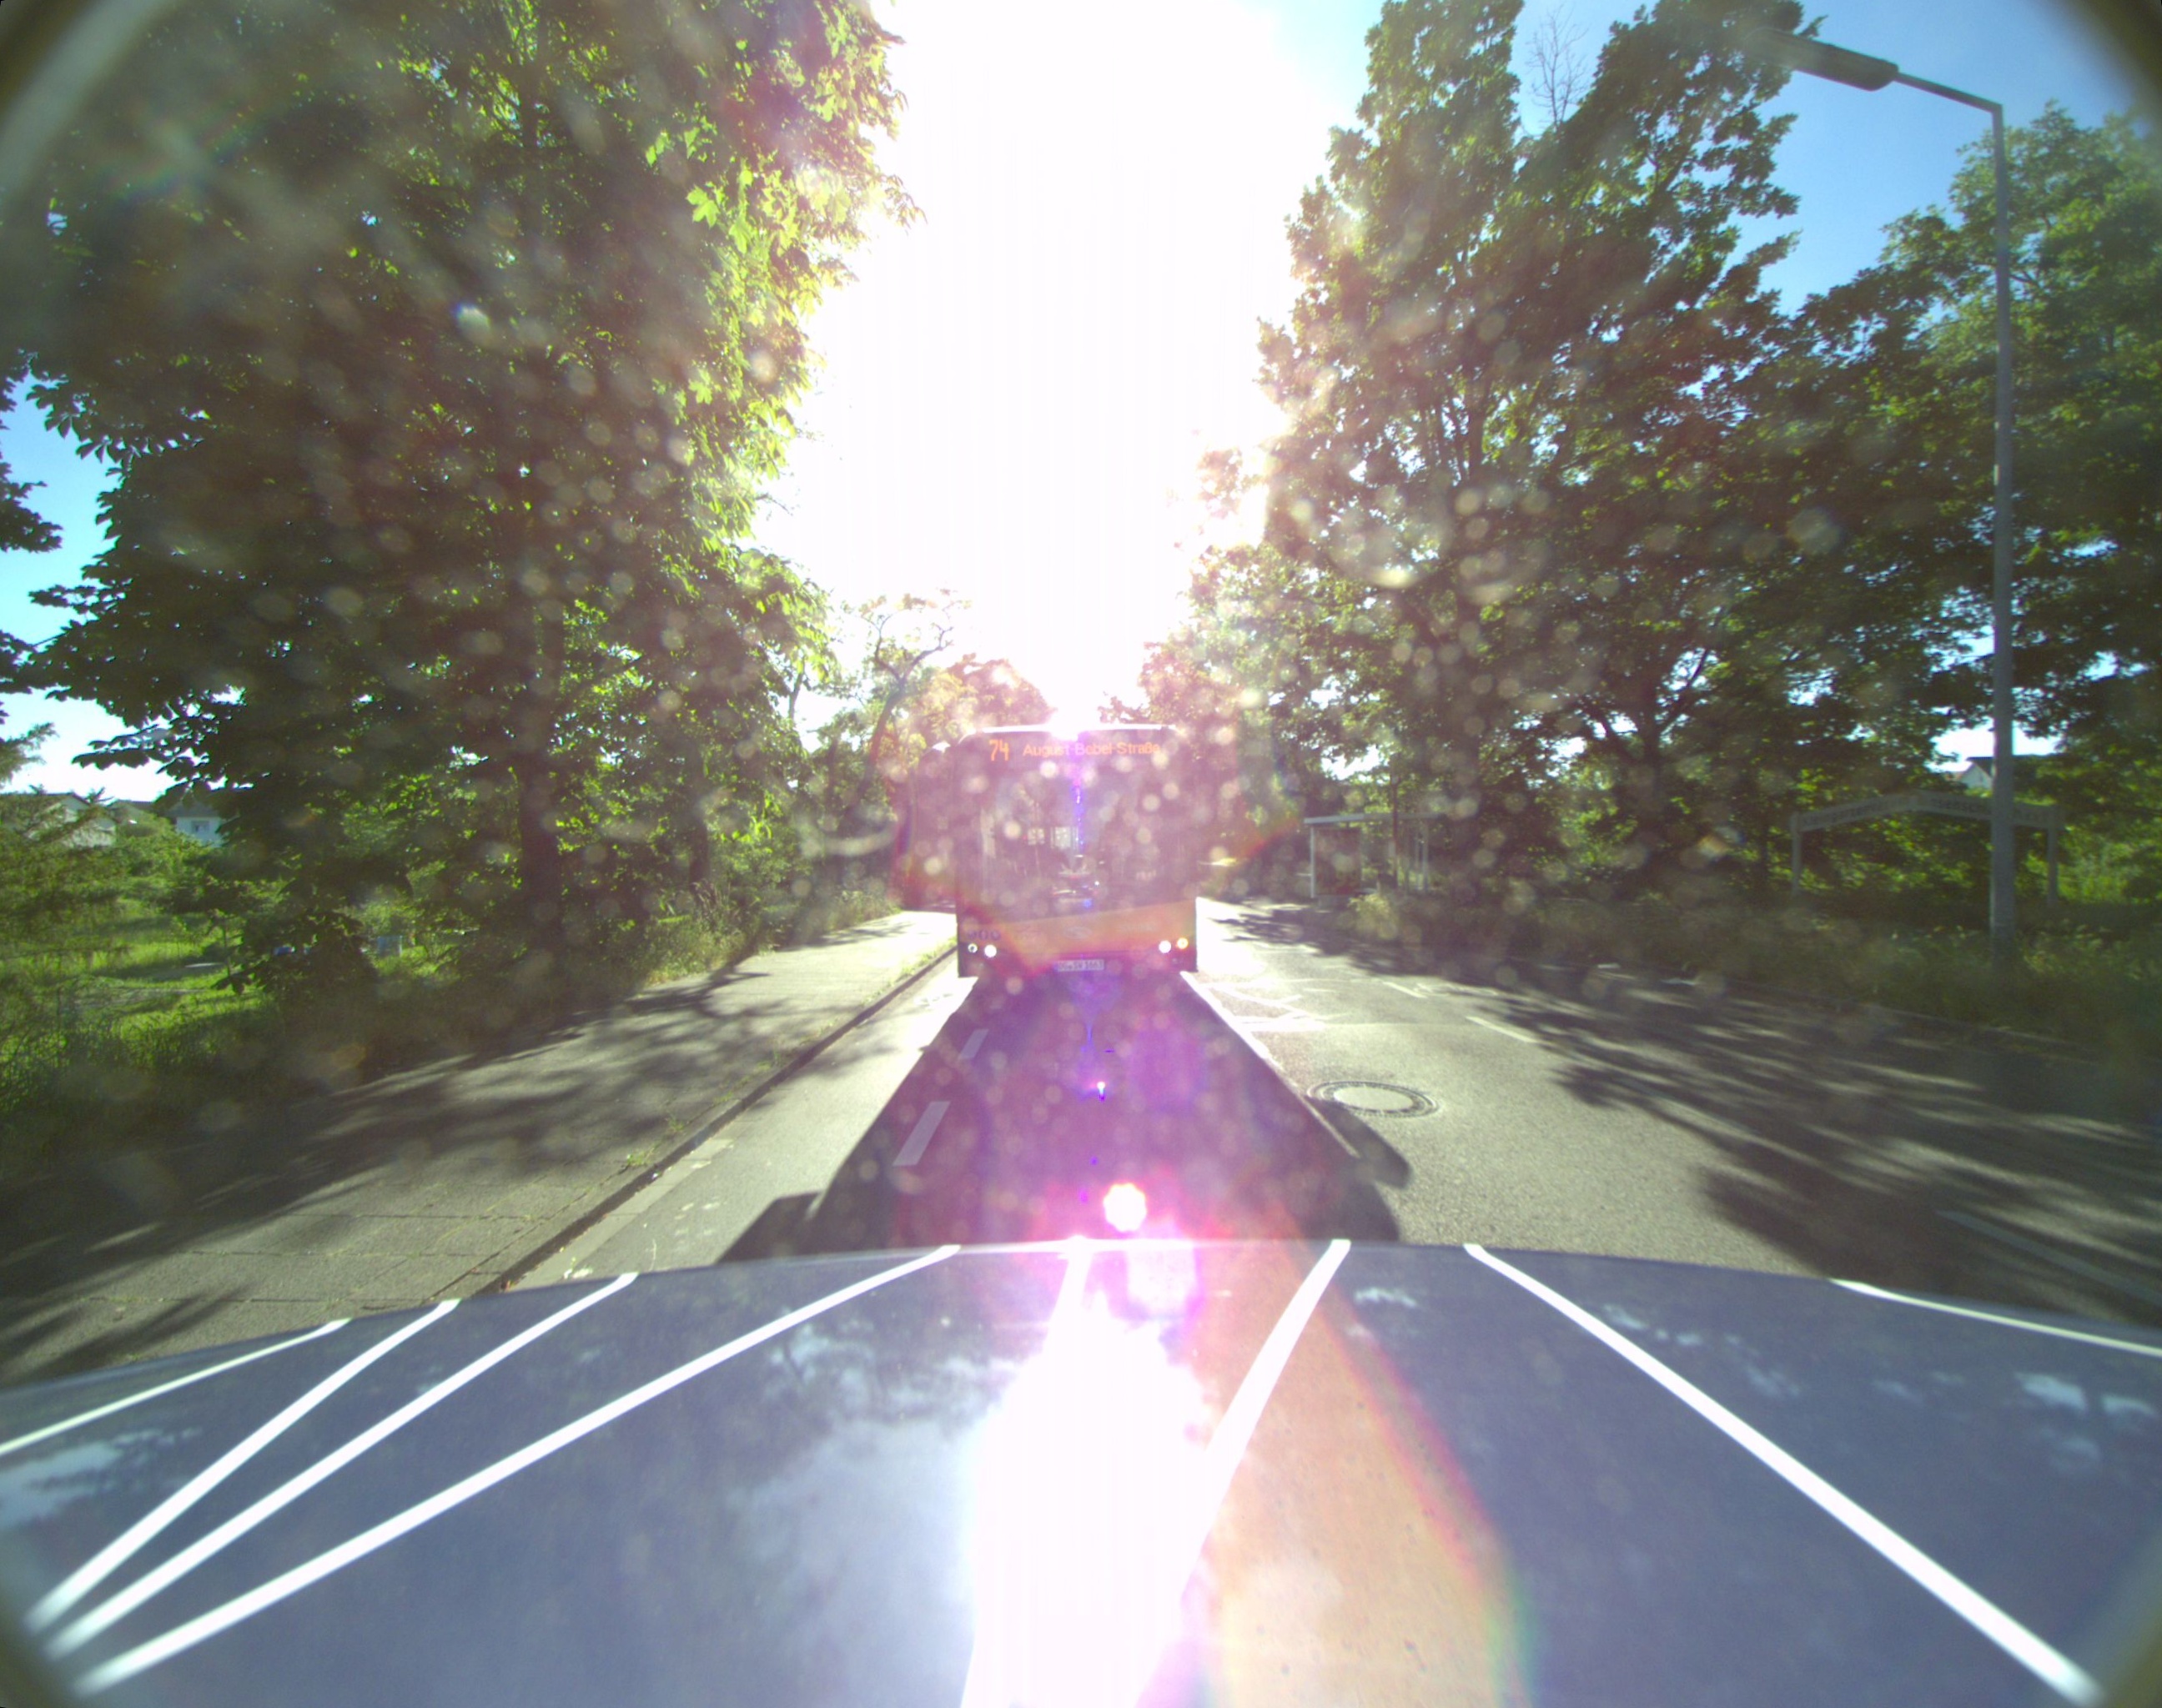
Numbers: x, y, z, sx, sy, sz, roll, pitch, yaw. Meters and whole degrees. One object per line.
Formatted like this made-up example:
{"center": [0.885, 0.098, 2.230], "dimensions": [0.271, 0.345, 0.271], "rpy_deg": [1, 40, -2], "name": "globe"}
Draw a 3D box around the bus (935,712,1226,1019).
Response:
{"center": [-0.067, 0.120, 14.040], "dimensions": [2.790, 2.965, 12.893], "rpy_deg": [-2, 0, -1], "name": "bus"}
